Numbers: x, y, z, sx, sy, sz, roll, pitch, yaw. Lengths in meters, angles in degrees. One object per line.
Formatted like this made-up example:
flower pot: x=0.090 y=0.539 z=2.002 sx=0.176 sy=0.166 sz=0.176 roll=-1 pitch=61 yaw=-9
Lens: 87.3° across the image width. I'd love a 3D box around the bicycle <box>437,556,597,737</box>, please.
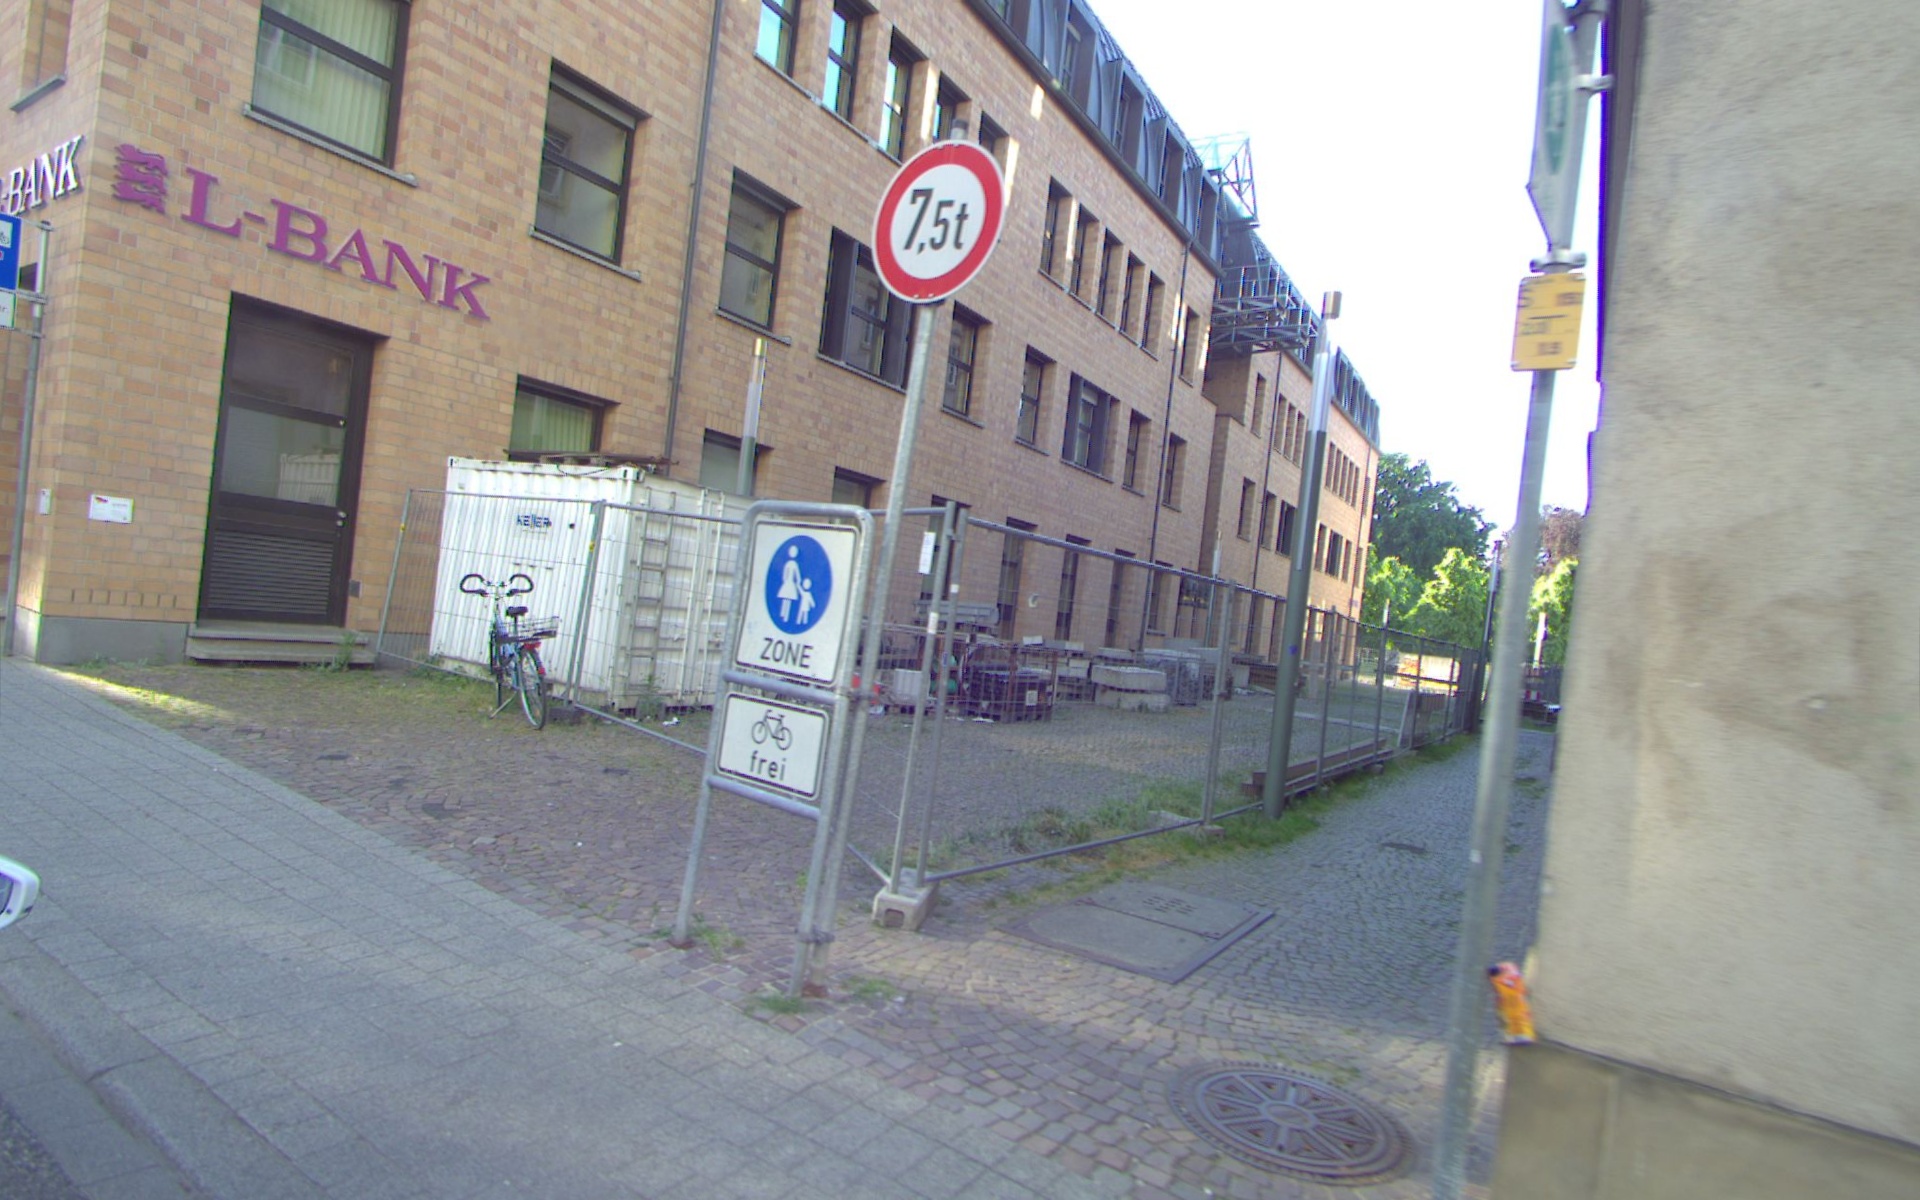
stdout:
bicycle: x=-3.829 y=0.360 z=8.624 sx=1.625 sy=1.333 sz=0.549 roll=7 pitch=1 yaw=43
